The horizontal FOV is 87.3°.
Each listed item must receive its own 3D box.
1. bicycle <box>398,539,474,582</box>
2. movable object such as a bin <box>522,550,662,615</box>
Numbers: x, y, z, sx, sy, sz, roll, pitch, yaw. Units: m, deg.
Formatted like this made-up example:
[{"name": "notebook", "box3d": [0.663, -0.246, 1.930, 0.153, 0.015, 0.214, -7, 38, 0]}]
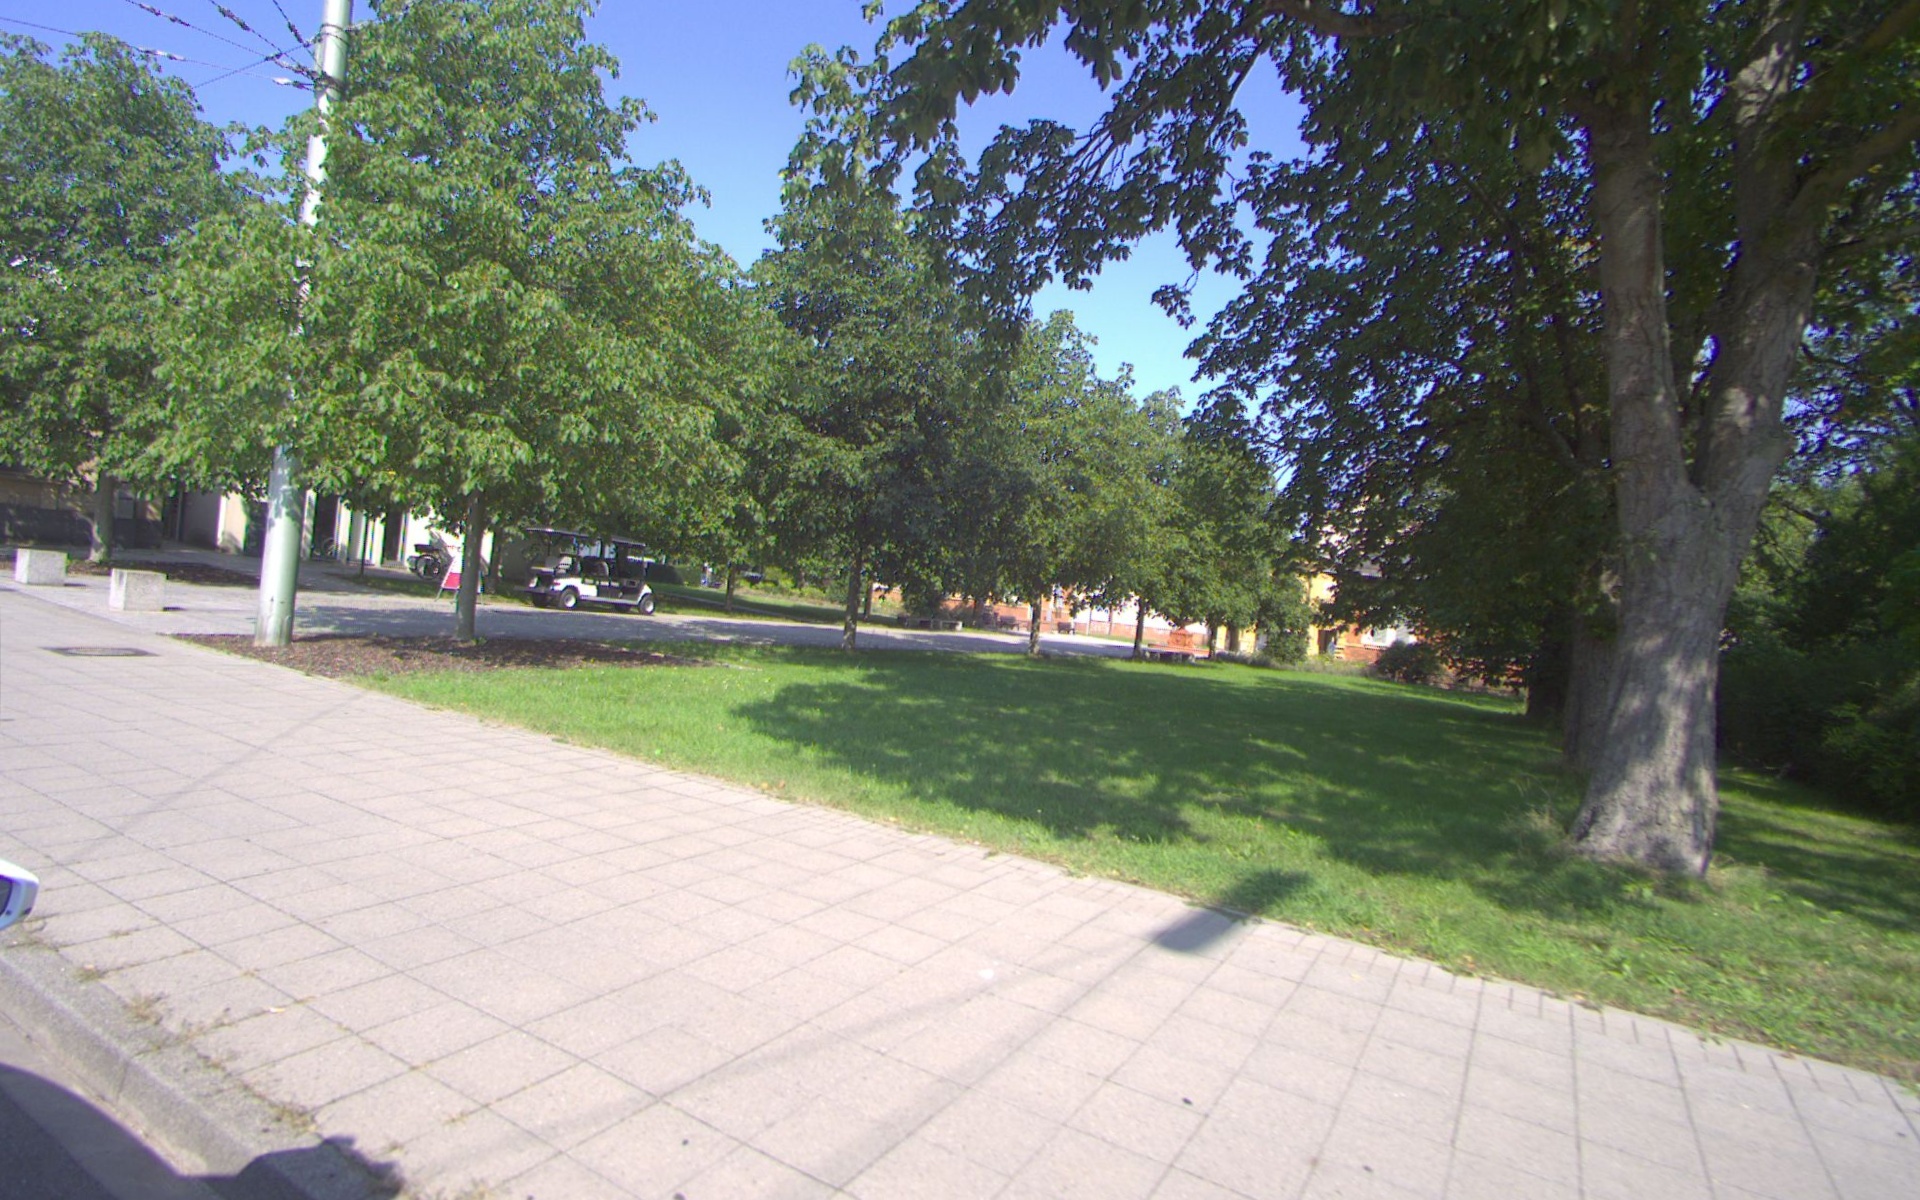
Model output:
[{"name": "bicycle", "box3d": [-14.832, -1.099, 28.536, 0.420, 0.992, 1.906, 7, 0, 31]}, {"name": "movable object such as a bin", "box3d": [-9.199, -0.414, 25.343, 1.279, 1.315, 3.109, 7, 1, 31]}]
